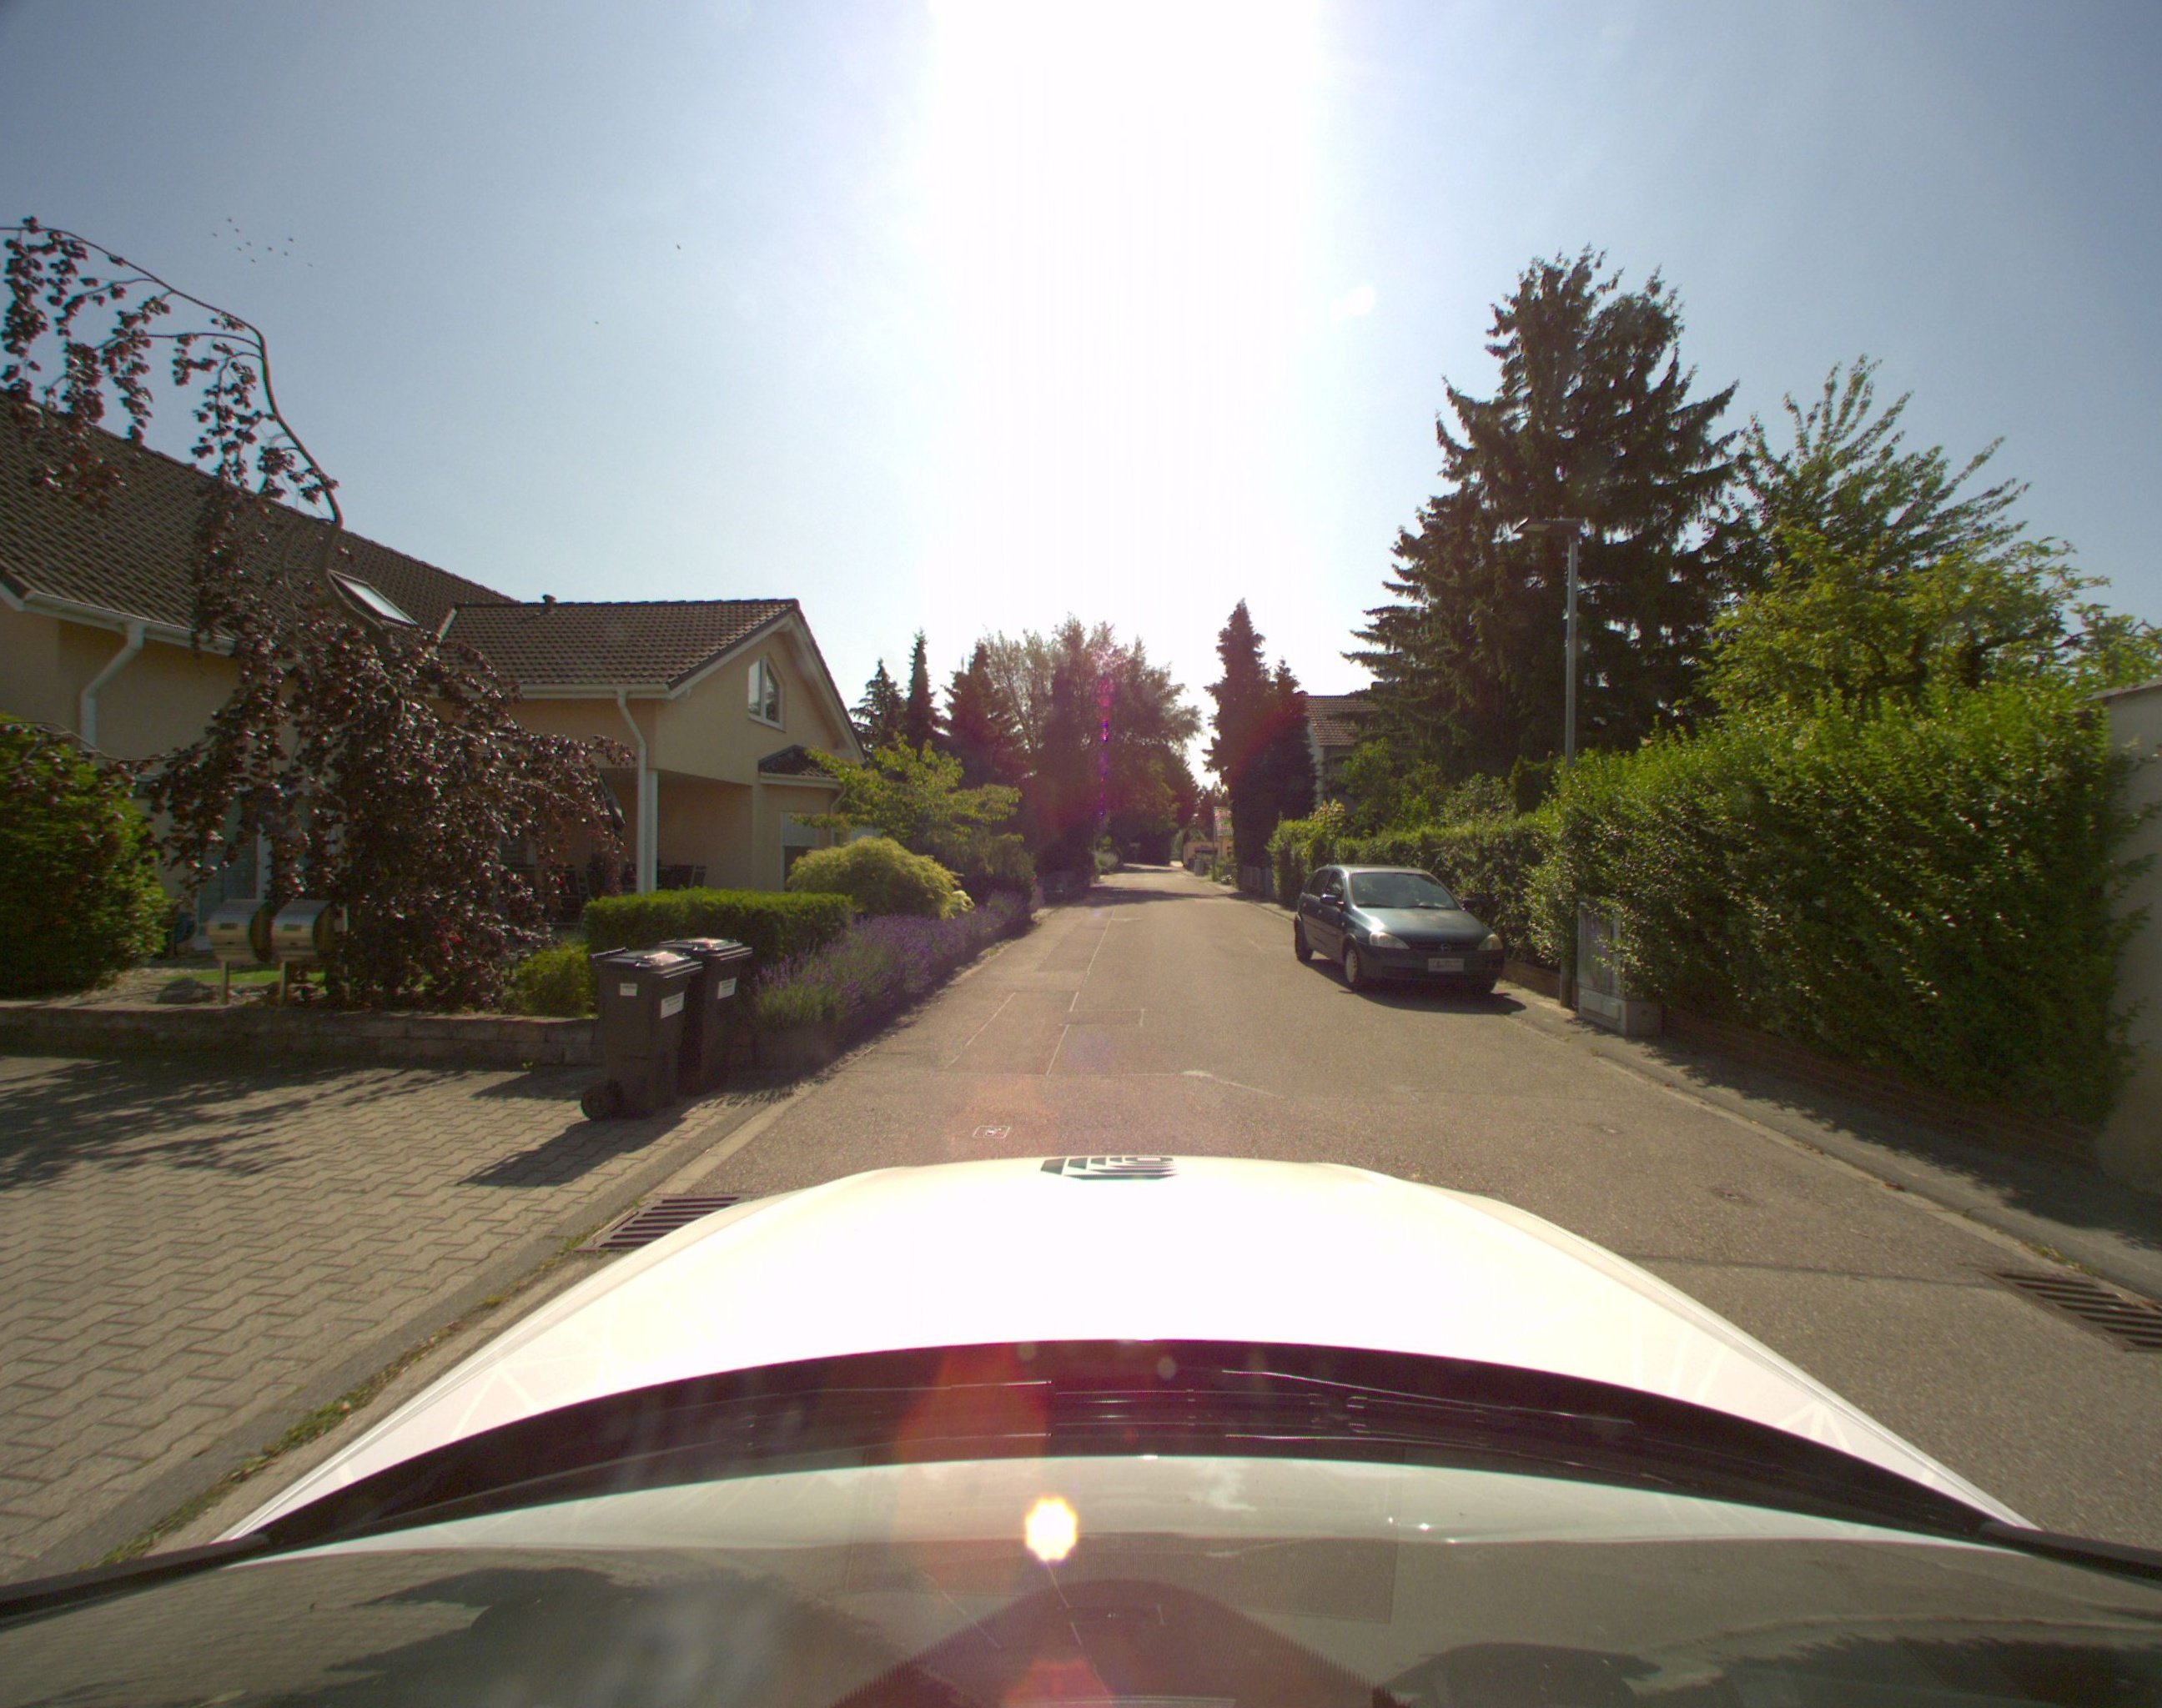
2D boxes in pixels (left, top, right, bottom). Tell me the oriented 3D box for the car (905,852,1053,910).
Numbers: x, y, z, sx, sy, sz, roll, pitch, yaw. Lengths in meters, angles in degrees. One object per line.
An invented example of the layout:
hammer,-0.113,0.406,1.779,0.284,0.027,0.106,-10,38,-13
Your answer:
car,-2.680,0.697,22.057,3.721,1.445,1.757,0,1,2

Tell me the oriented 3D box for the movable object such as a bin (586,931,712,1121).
movable object such as a bin,-2.555,0.996,4.843,0.492,1.024,0.448,0,0,4

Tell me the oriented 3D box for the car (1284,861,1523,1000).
car,3.899,0.817,10.600,1.695,1.399,4.003,1,0,3

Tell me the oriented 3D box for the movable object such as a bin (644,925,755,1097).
movable object such as a bin,-2.470,0.997,5.305,0.492,1.024,0.448,0,0,4
